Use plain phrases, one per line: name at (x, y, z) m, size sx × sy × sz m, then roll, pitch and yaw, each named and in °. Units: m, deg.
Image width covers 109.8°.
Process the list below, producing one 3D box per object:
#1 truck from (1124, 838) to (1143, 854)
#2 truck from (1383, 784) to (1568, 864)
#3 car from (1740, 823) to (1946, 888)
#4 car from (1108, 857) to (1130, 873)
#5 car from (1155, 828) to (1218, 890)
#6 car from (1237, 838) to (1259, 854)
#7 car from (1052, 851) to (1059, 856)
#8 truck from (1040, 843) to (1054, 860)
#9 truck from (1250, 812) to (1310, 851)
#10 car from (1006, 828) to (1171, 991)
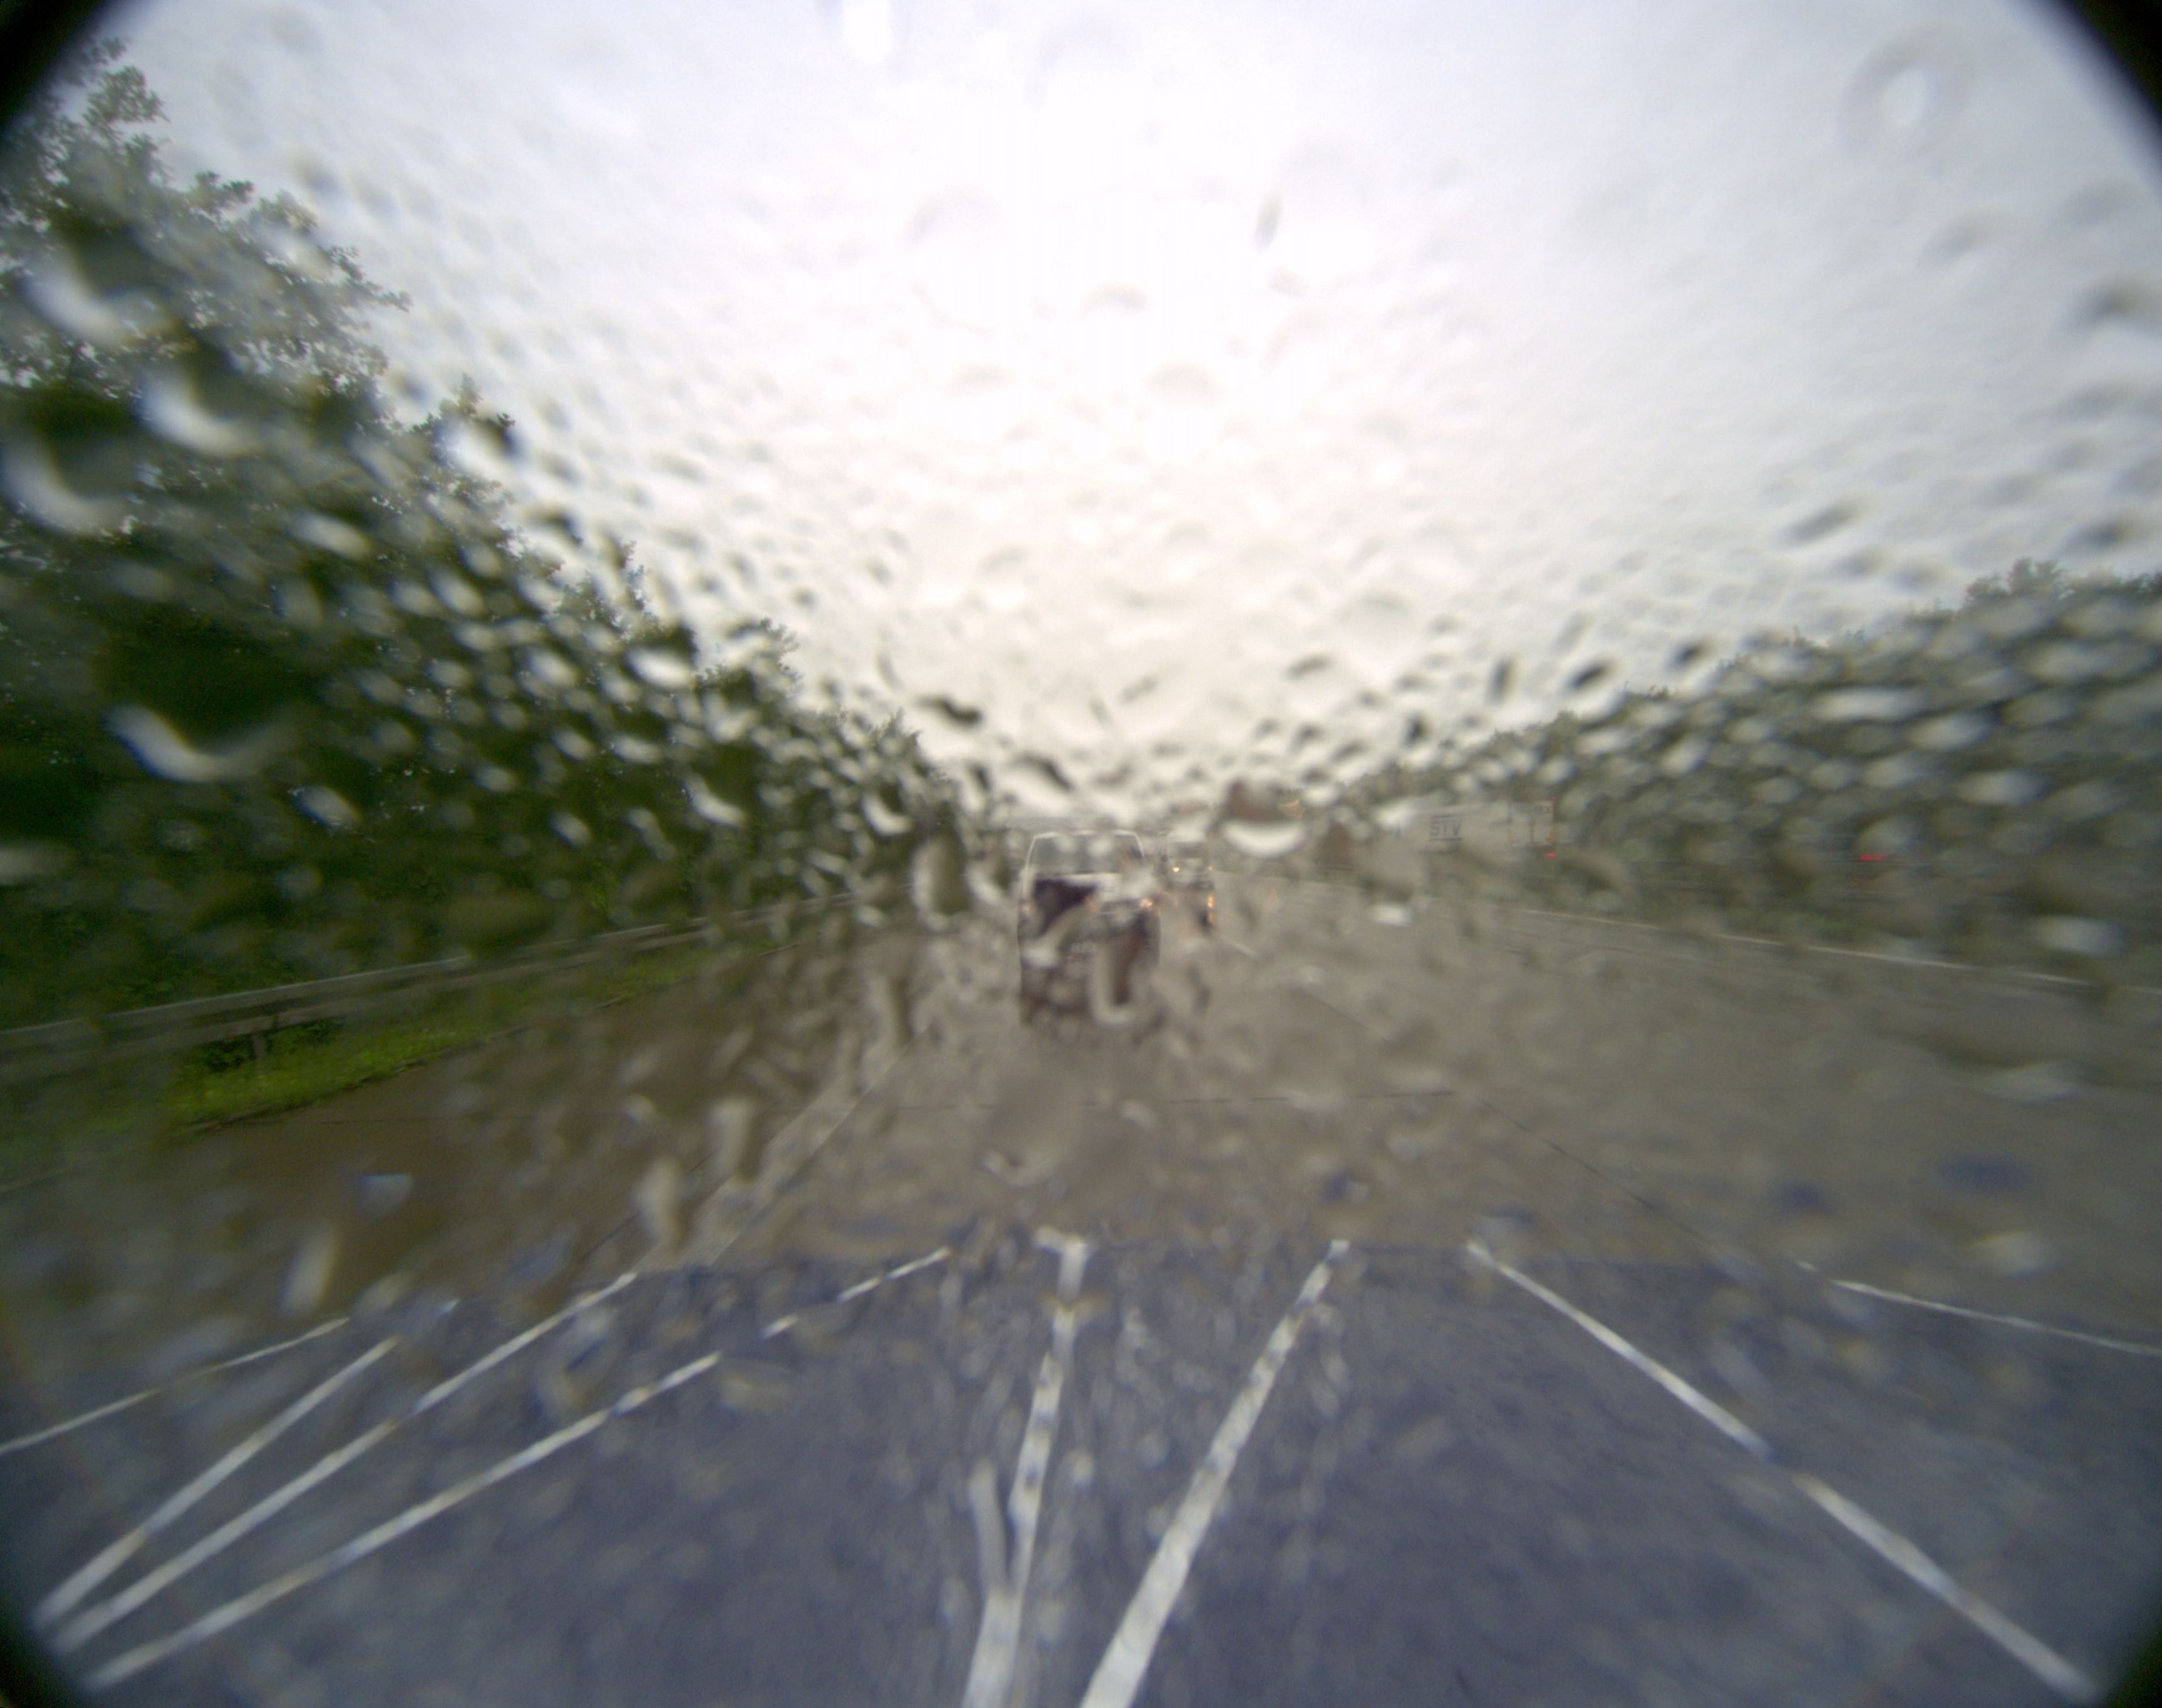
truck at (14.657, -2.234, 212.465) m, size 3.691 × 4.280 × 13.292 m, roll -2°, pitch 0°, yaw -2°
truck at (24.543, -1.651, 49.116) m, size 3.132 × 4.220 × 16.368 m, roll -2°, pitch 0°, yaw -1°
car at (21.758, 0.027, 21.970) m, size 1.952 × 1.649 × 4.000 m, roll -2°, pitch 0°, yaw 1°
car at (3.555, 1.001, 71.995) m, size 1.745 × 1.380 × 4.320 m, roll 0°, pitch 1°, yaw -1°
car at (4.532, 0.195, 33.502) m, size 2.003 × 2.417 × 5.790 m, roll -2°, pitch 0°, yaw 1°
car at (19.546, -0.959, 89.033) m, size 1.634 × 1.761 × 3.999 m, roll -2°, pitch 0°, yaw -1°
car at (-7.300, -0.203, 214.761) m, size 1.850 × 1.521 × 3.999 m, roll -1°, pitch 0°, yaw -2°
truck at (-8.630, -0.507, 189.826) m, size 3.060 × 3.994 × 10.039 m, roll 2°, pitch -2°, yaw -4°
truck at (23.600, -2.482, 90.933) m, size 3.132 × 4.220 × 13.538 m, roll -2°, pitch 0°, yaw -2°
car at (0.127, 0.647, 11.554) m, size 1.904 × 1.883 × 5.043 m, roll -2°, pitch 0°, yaw 1°
